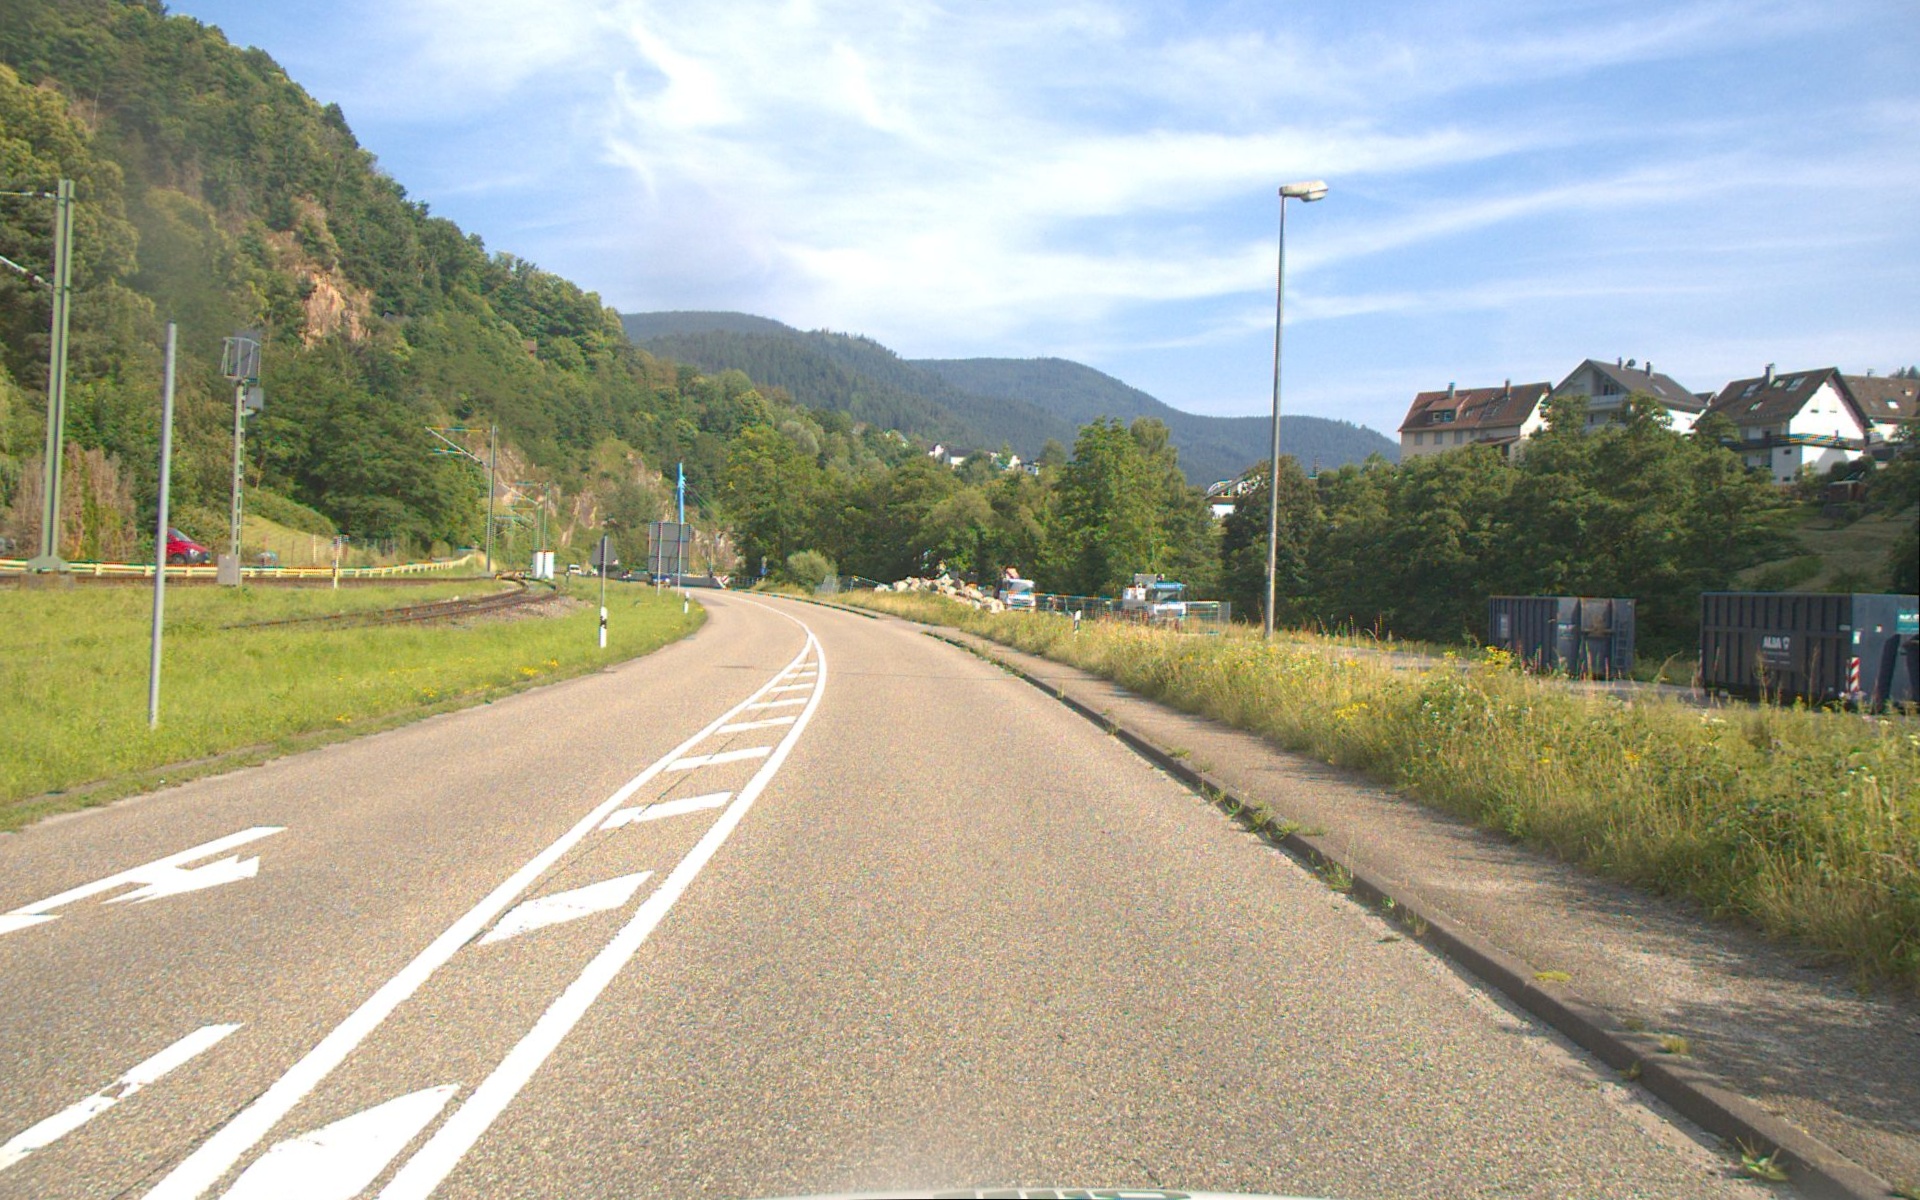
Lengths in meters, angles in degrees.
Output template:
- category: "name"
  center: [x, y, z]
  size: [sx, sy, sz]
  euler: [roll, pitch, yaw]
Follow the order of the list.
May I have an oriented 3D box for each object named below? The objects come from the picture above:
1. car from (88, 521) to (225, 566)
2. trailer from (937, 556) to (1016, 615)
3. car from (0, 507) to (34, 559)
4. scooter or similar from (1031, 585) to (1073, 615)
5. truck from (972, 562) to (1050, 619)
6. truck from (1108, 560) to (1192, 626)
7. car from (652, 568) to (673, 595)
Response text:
- category: "car"
  center: [-35.985, -2.498, 74.154]
  size: [4.864, 1.721, 2.455]
  euler: [3, 0, -1]
- category: "trailer"
  center: [1.173, -1.163, 130.616]
  size: [3.311, 4.348, 9.864]
  euler: [3, 0, -17]
- category: "car"
  center: [-34.443, -2.389, 56.811]
  size: [4.063, 1.721, 1.998]
  euler: [3, 0, -4]
- category: "scooter or similar"
  center: [6.746, -0.024, 121.317]
  size: [1.960, 2.049, 3.986]
  euler: [1, 1, -14]
- category: "truck"
  center: [3.668, -0.775, 121.749]
  size: [3.054, 3.847, 8.605]
  euler: [3, 0, -17]
- category: "truck"
  center: [11.996, -0.486, 105.232]
  size: [3.045, 3.847, 8.629]
  euler: [3, 0, -8]
- category: "car"
  center: [-30.213, -1.932, 167.713]
  size: [2.088, 2.661, 5.466]
  euler: [0, 1, -11]
